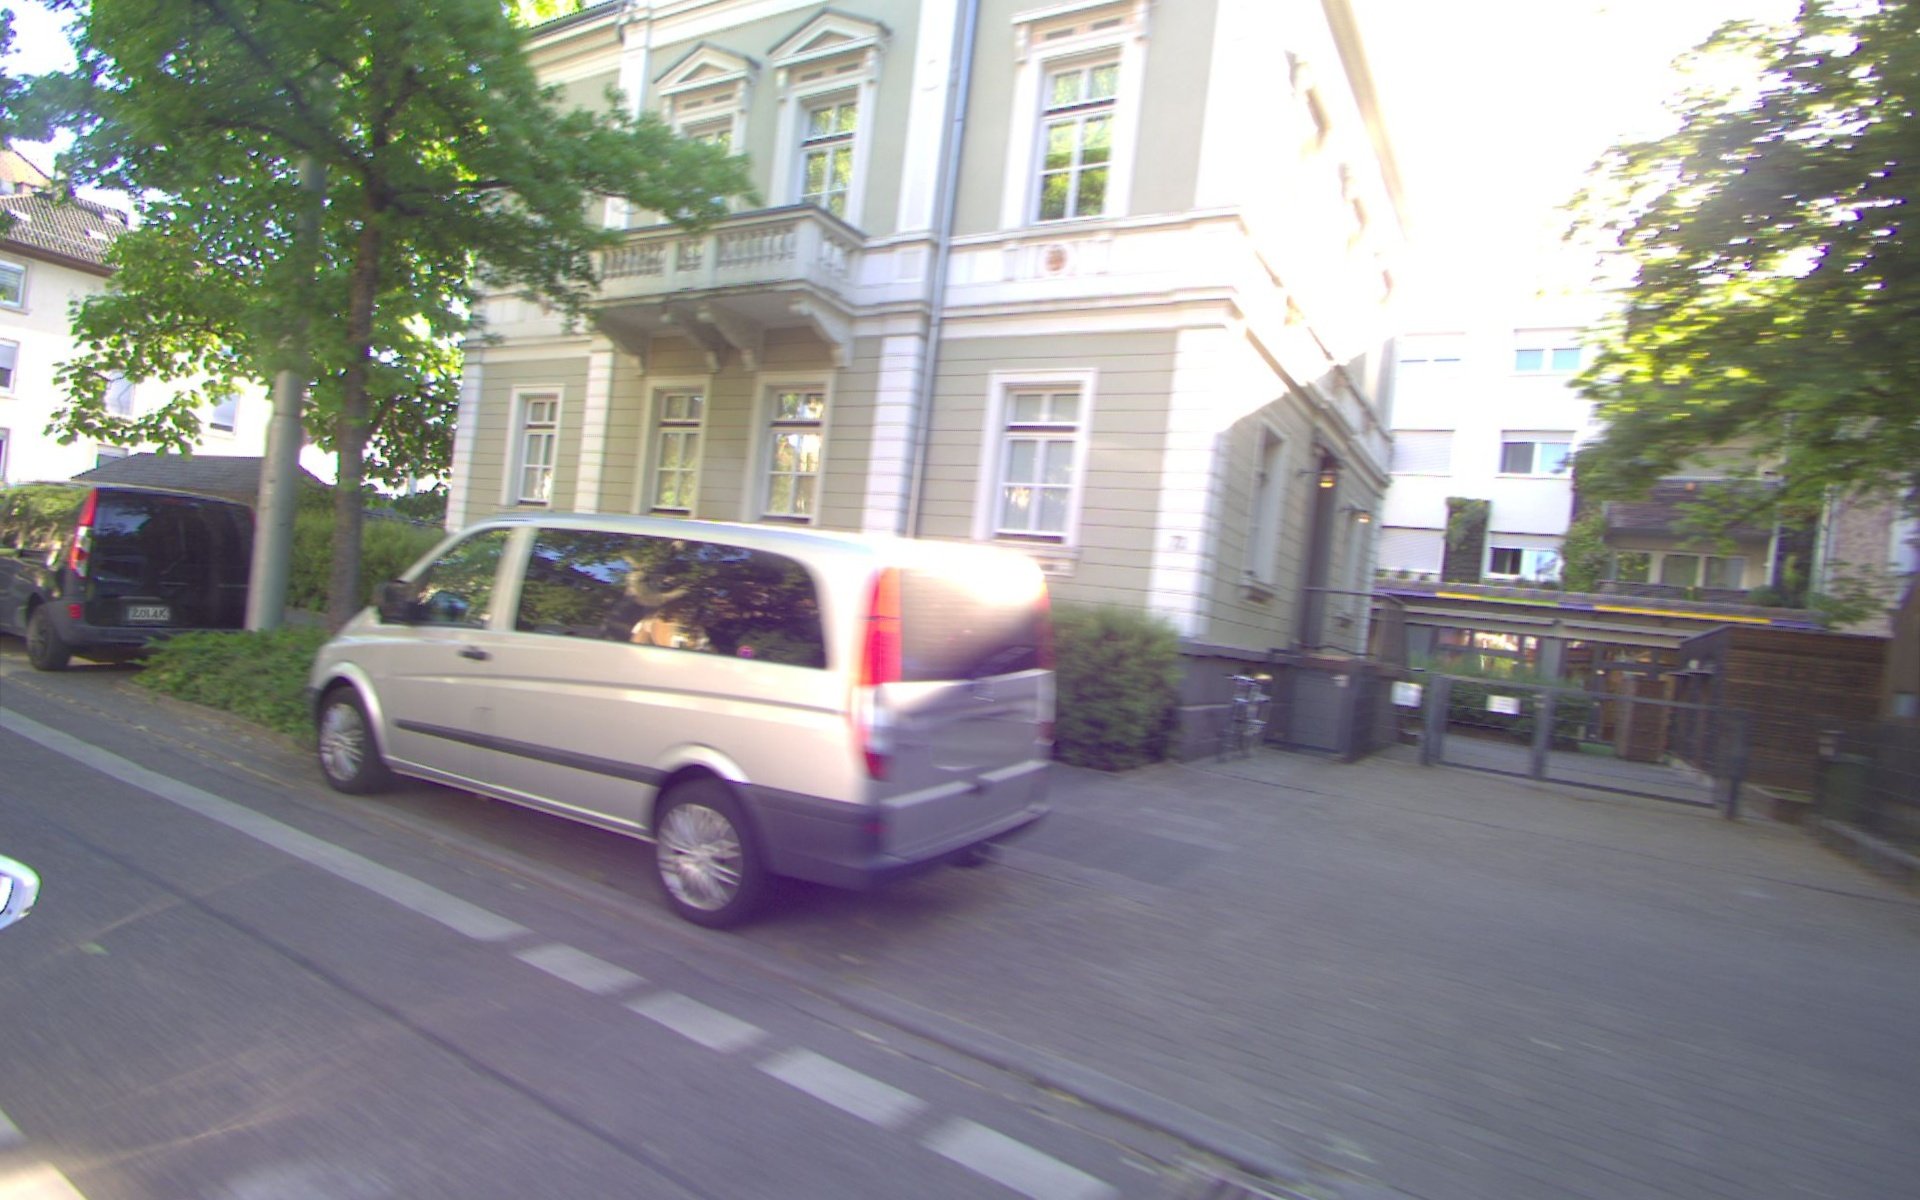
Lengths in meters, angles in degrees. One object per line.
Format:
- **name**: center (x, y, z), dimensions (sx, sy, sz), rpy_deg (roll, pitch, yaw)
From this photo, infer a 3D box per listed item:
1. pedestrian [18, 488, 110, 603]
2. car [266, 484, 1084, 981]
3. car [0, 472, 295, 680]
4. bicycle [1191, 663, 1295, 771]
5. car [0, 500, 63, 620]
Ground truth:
- **pedestrian**: center (-14.541, -0.878, 16.327), dimensions (0.821, 1.734, 0.830), rpy_deg (8, 3, 31)
- **car**: center (-1.942, 0.429, 6.126), dimensions (4.885, 1.876, 1.884), rpy_deg (6, 2, 32)
- **car**: center (-9.441, -0.339, 10.870), dimensions (4.600, 1.788, 1.888), rpy_deg (6, 0, 32)
- **bicycle**: center (3.224, 1.283, 11.331), dimensions (0.552, 1.048, 1.915), rpy_deg (6, -1, 31)
- **car**: center (-14.216, -0.706, 13.763), dimensions (3.969, 1.534, 1.713), rpy_deg (6, 1, 30)
